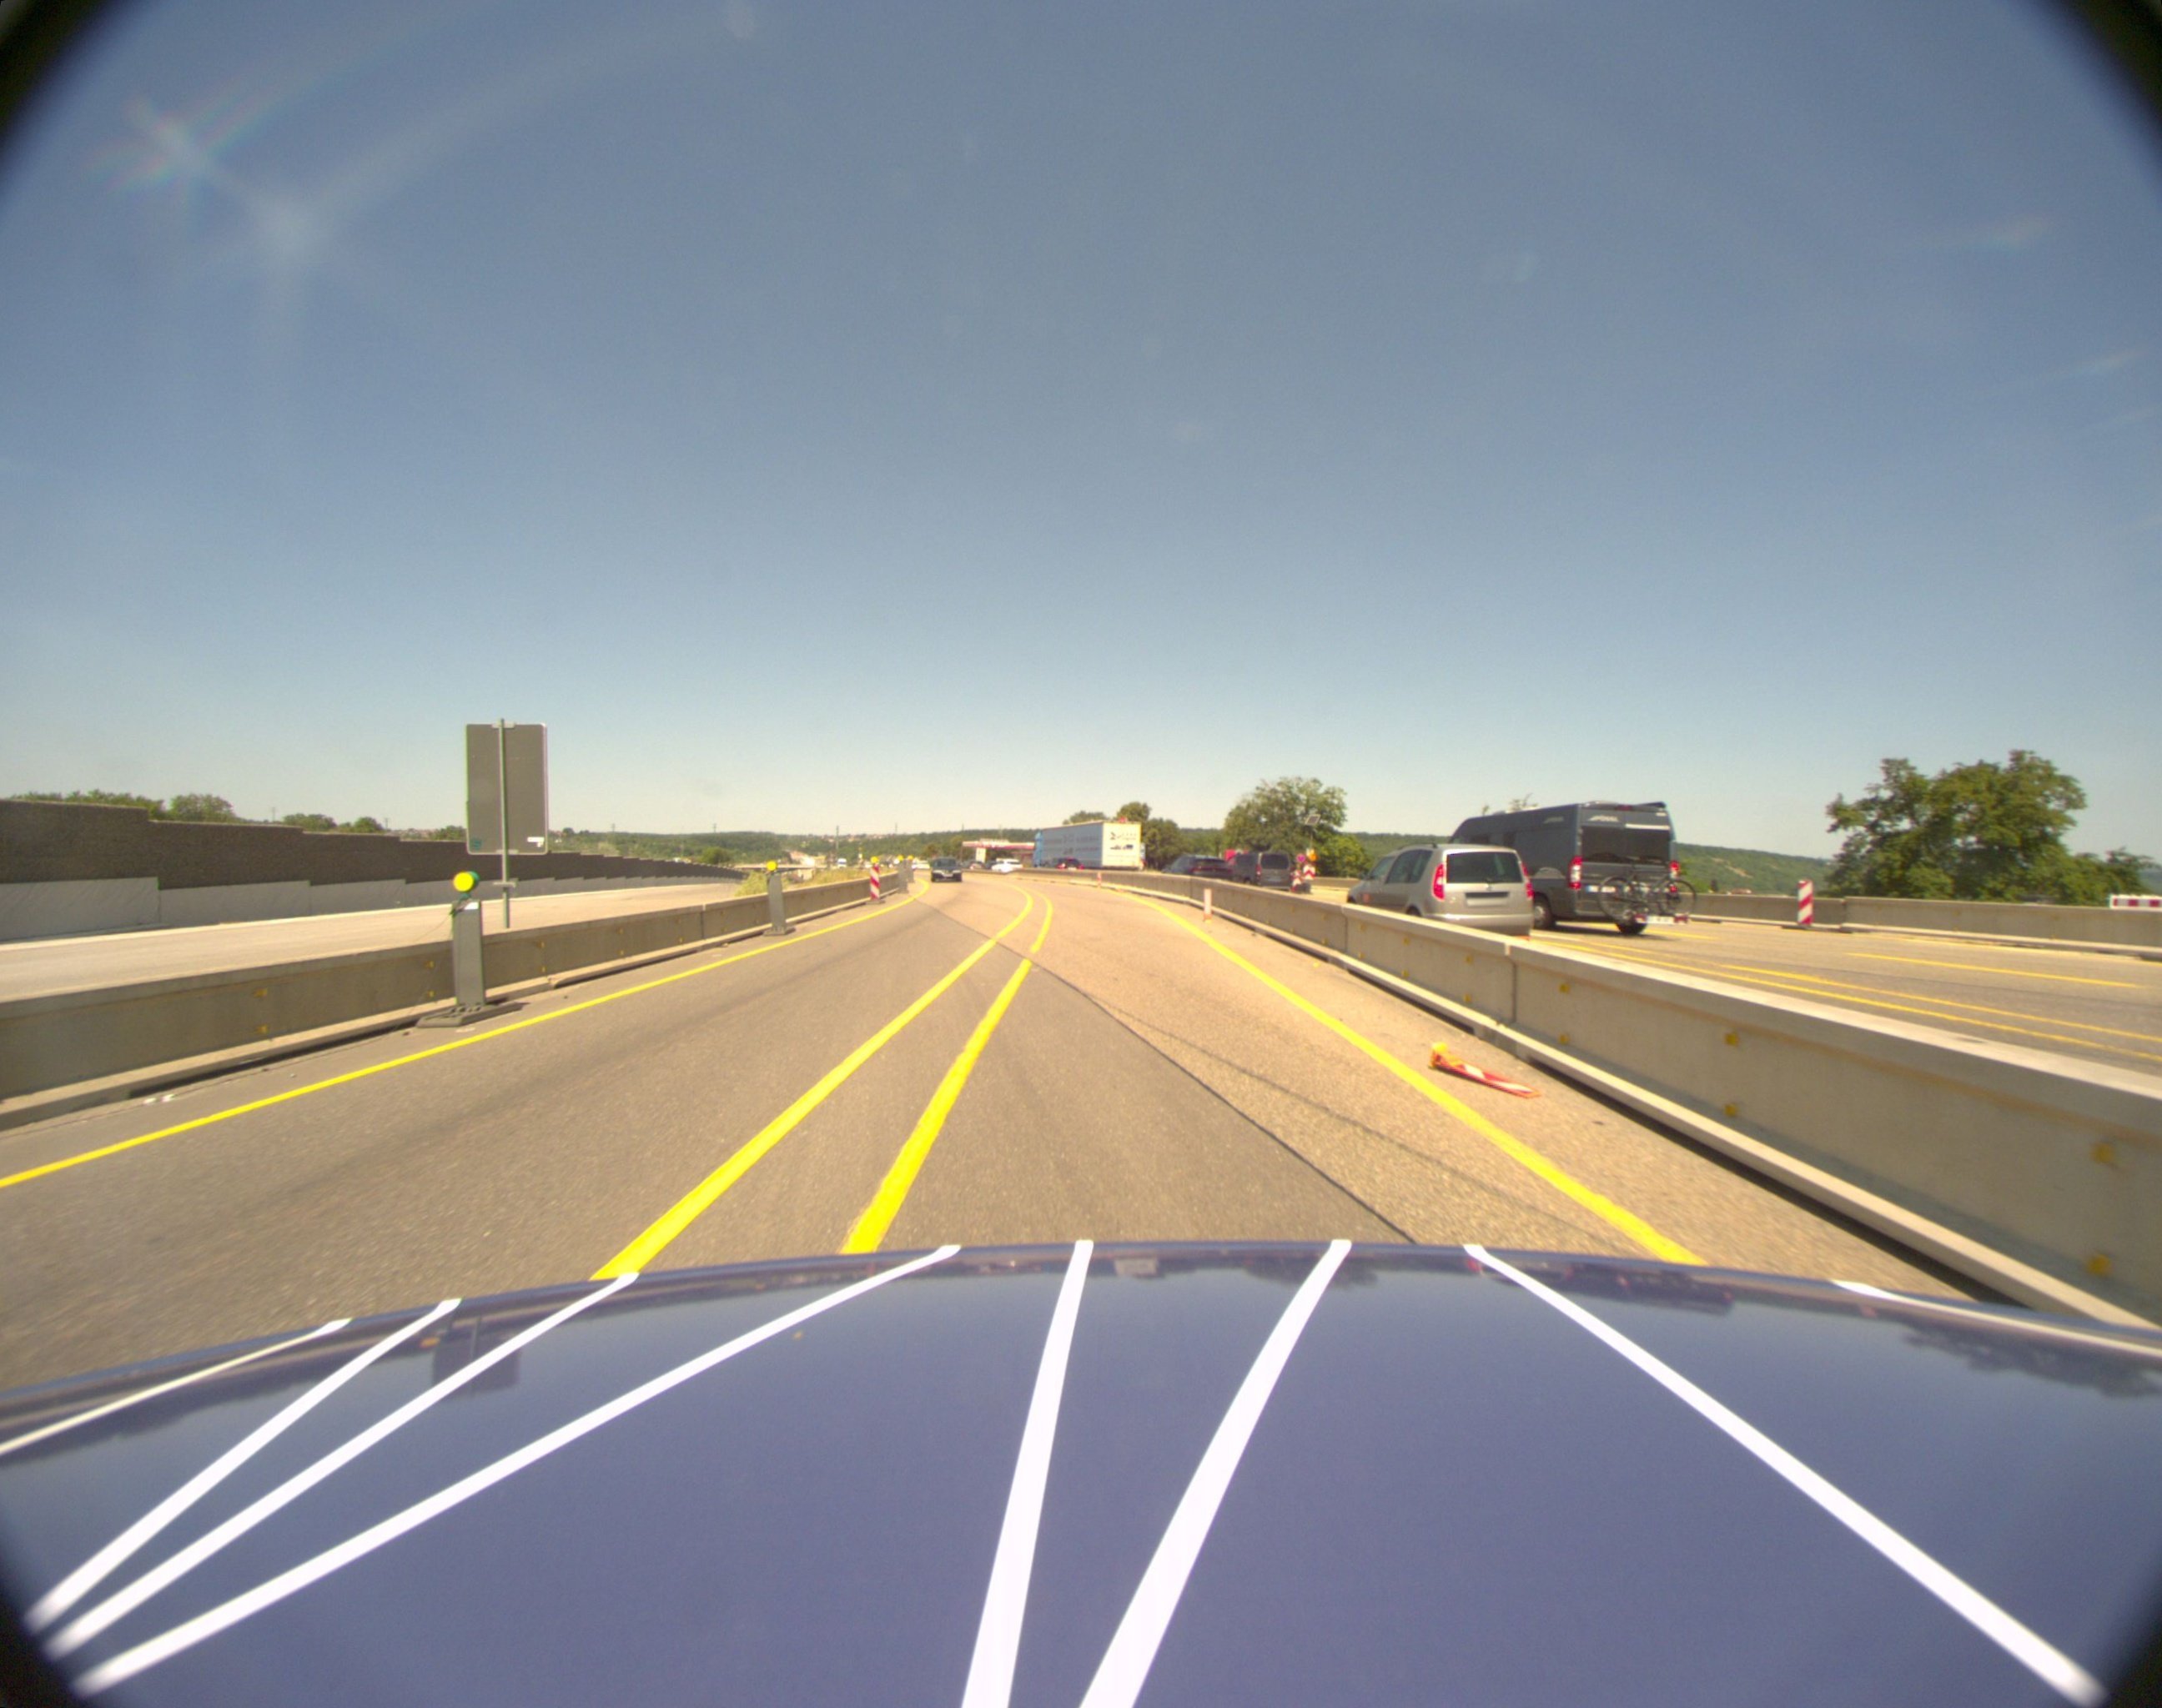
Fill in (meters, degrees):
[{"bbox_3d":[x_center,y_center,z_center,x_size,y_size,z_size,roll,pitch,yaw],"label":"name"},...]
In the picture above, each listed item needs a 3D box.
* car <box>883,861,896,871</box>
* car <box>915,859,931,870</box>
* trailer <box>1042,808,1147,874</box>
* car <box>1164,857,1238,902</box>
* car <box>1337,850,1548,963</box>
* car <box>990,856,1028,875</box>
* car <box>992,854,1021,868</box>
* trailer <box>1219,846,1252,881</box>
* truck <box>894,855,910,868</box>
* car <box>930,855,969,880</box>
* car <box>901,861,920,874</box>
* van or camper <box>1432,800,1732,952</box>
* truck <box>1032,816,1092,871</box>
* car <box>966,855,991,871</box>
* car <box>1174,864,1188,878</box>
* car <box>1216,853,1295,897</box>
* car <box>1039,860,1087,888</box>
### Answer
[{"bbox_3d":[-31.867,2.030,126.498,1.710,1.674,3.782,-2,0,-21],"label":"car"},{"bbox_3d":[-23.397,1.521,112.410,1.741,1.470,4.512,-1,0,-19],"label":"car"},{"bbox_3d":[0.554,-0.809,54.906,2.927,4.104,13.892,1,-1,-19],"label":"trailer"},{"bbox_3d":[4.371,0.889,28.427,1.694,1.472,4.468,2,0,-4],"label":"car"},{"bbox_3d":[5.896,0.767,13.015,1.761,1.606,4.229,-1,0,3],"label":"car"},{"bbox_3d":[-5.962,0.947,62.583,2.024,1.436,4.580,-1,0,-20],"label":"car"},{"bbox_3d":[-7.651,0.712,77.873,2.001,1.390,4.574,-2,0,-17],"label":"car"},{"bbox_3d":[19.420,1.264,96.307,3.156,4.086,14.176,2,-1,8],"label":"trailer"},{"bbox_3d":[-39.048,1.677,165.696,2.490,2.807,8.116,2,-1,-19],"label":"truck"},{"bbox_3d":[-7.605,0.818,43.655,1.812,1.298,3.996,2,-2,-15],"label":"car"},{"bbox_3d":[-21.859,1.732,97.311,1.821,1.652,3.993,-2,0,-21],"label":"car"},{"bbox_3d":[9.920,0.374,15.998,2.104,2.526,6.305,2,0,0],"label":"van or camper"},{"bbox_3d":[-1.618,-0.807,61.090,2.927,4.104,6.128,2,0,-19],"label":"truck"},{"bbox_3d":[-10.283,0.894,76.205,1.596,1.432,4.118,3,-1,-19],"label":"car"},{"bbox_3d":[14.887,2.553,112.472,1.921,1.929,5.099,1,-2,9],"label":"car"},{"bbox_3d":[7.618,0.886,33.621,1.781,1.754,4.706,2,0,-8],"label":"car"},{"bbox_3d":[-1.208,1.240,48.771,1.775,1.598,4.702,2,0,-17],"label":"car"}]
